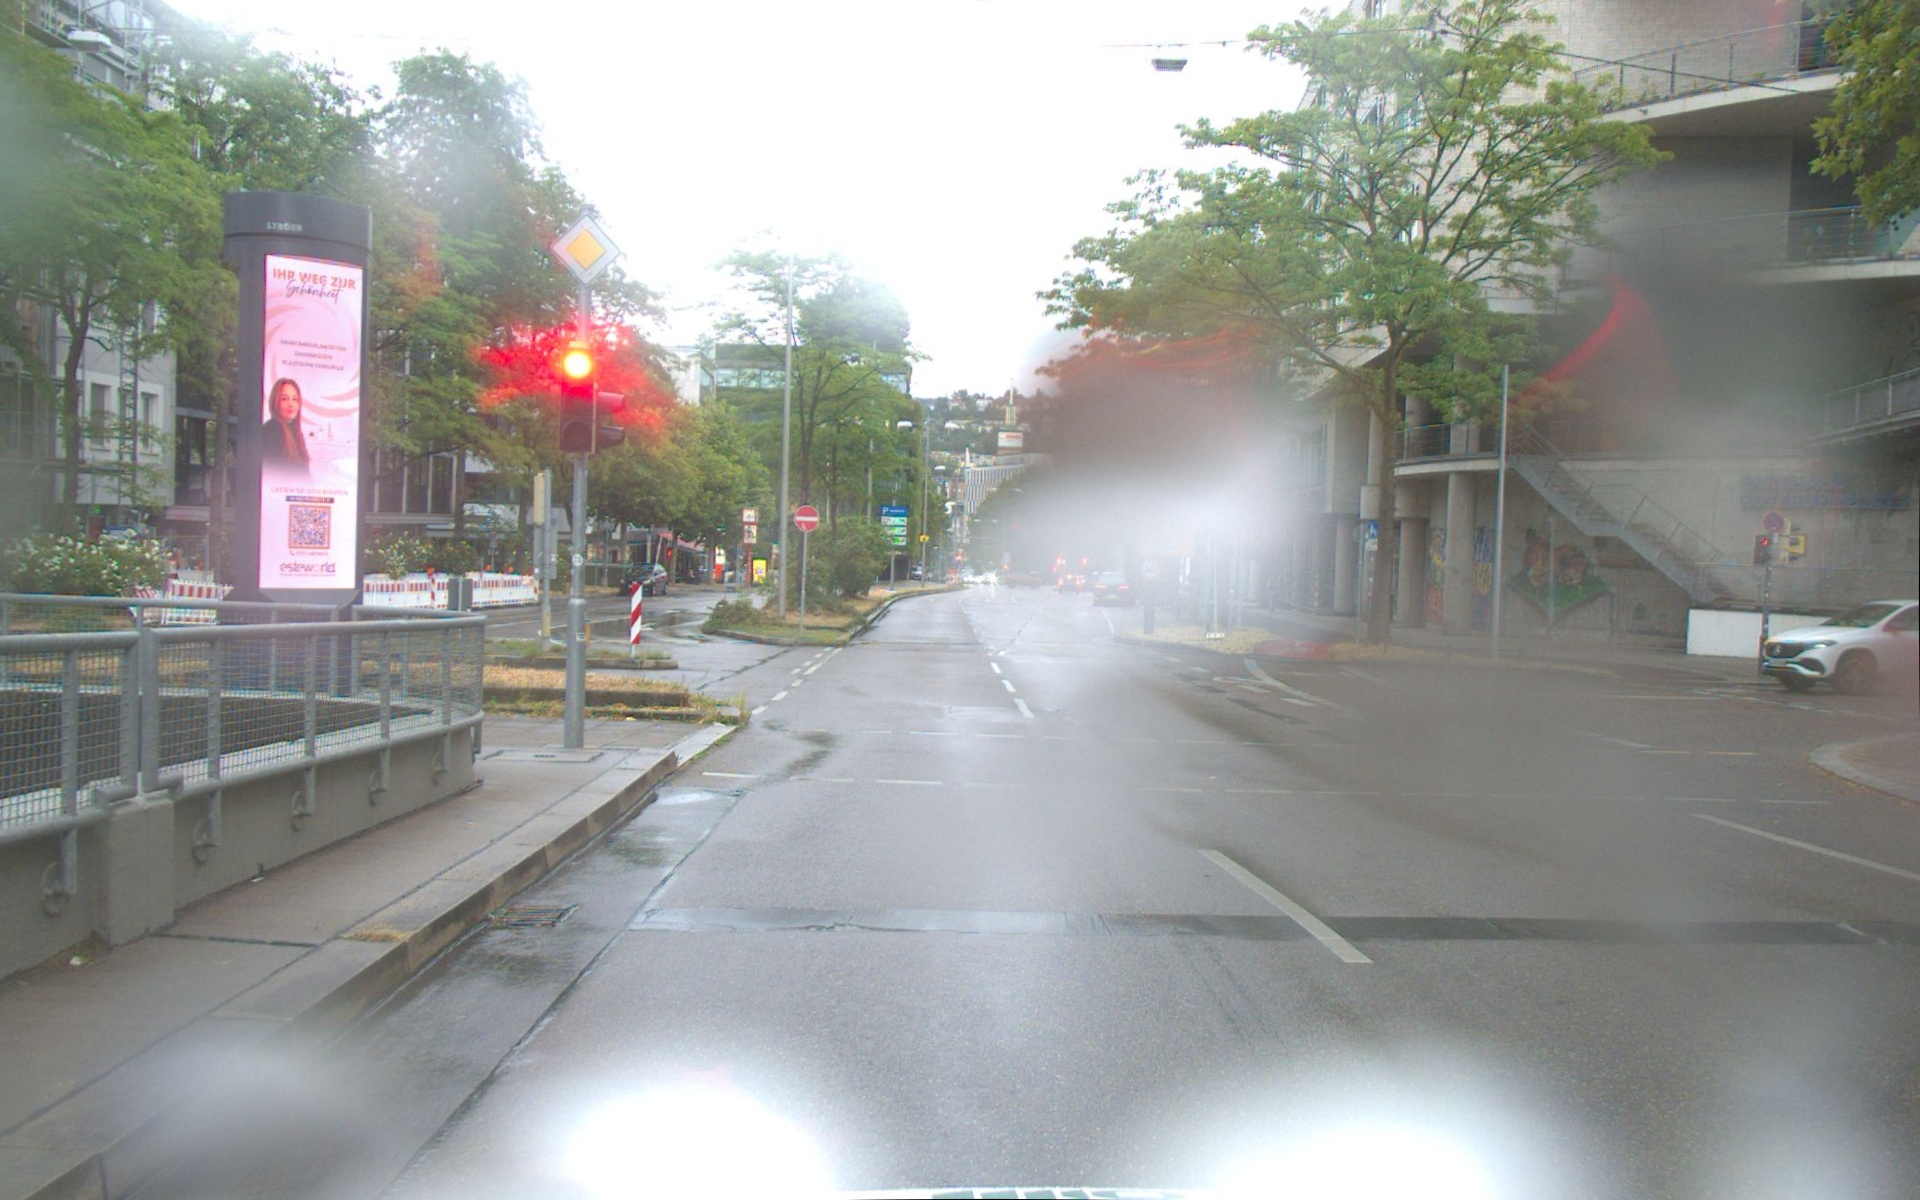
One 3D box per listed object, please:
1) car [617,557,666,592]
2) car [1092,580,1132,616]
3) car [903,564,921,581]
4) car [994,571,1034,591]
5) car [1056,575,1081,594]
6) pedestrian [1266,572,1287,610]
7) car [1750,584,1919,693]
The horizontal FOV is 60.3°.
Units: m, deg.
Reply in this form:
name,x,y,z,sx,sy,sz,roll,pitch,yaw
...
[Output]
name,x,y,z,sx,sy,sz,roll,pitch,yaw
car,-16.050,-1.330,83.401,1.744,1.582,3.893,2,2,-1
car,7.687,-0.124,83.989,1.861,1.713,3.912,2,0,3
car,-6.464,-3.682,224.363,2.084,2.202,5.198,2,0,2
car,5.923,-2.085,181.154,3.940,1.953,1.879,2,0,-13
car,9.173,-1.299,139.842,1.710,1.545,4.106,2,0,-1
pedestrian,13.695,-0.387,71.579,0.769,1.584,0.533,2,0,4
car,16.212,0.719,28.705,4.261,1.714,1.748,2,-4,-8
